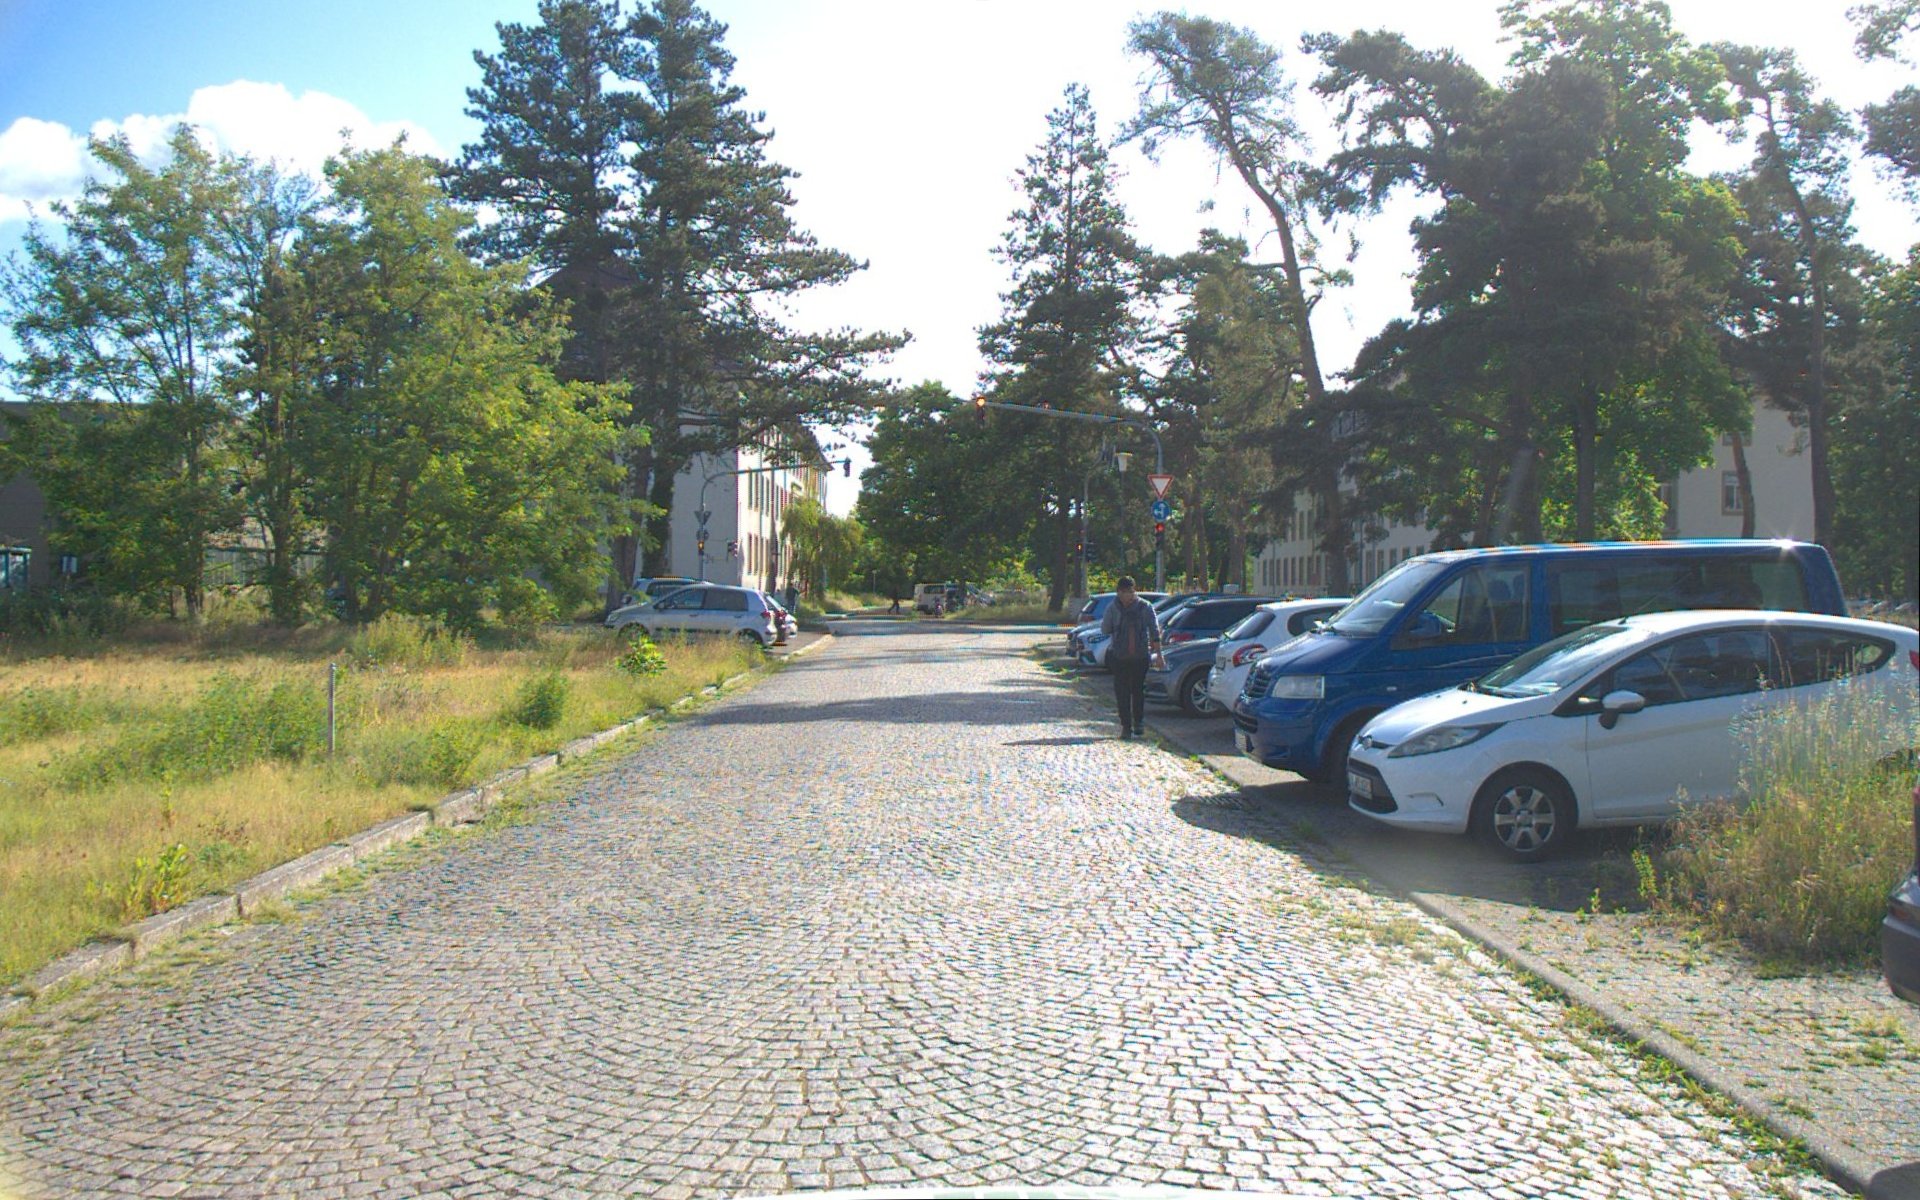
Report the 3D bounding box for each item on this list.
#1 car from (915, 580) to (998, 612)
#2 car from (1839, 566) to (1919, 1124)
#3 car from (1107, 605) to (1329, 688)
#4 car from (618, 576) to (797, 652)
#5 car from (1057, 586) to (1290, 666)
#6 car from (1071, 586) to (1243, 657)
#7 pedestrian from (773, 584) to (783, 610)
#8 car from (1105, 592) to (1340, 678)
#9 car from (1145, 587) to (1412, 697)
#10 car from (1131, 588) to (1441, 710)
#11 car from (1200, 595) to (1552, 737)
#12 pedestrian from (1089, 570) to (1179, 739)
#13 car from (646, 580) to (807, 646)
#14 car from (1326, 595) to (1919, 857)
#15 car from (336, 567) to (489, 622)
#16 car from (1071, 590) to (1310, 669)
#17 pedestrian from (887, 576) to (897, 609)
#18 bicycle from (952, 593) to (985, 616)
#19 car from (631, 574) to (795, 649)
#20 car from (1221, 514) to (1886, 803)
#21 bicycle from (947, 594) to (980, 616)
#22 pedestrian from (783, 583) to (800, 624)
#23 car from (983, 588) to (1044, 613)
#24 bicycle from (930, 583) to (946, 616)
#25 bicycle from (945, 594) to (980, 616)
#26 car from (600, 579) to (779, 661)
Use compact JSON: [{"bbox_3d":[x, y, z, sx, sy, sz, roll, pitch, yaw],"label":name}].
[{"bbox_3d":[-0.249,-0.241,103.832,4.975,1.951,1.995,0,0,-11],"label":"car"},{"bbox_3d":[4.846,0.726,4.474,4.024,1.639,1.785,0,0,-3],"label":"car"},{"bbox_3d":[4.173,0.738,27.058,3.390,1.264,1.536,1,0,-1],"label":"car"},{"bbox_3d":[-5.854,0.319,38.671,3.859,1.470,1.690,4,0,-2],"label":"car"},{"bbox_3d":[4.404,0.516,34.526,4.528,1.481,1.869,-2,1,-3],"label":"car"},{"bbox_3d":[4.372,0.466,37.049,3.598,1.468,1.665,-1,0,-1],"label":"car"},{"bbox_3d":[-10.943,-0.174,99.599,0.595,1.587,0.544,0,0,-8],"label":"pedestrian"},{"bbox_3d":[4.626,0.601,29.456,3.899,1.474,1.655,0,0,-2],"label":"car"},{"bbox_3d":[4.654,0.591,24.488,3.588,1.480,1.666,-1,0,-1],"label":"car"},{"bbox_3d":[4.174,0.610,21.591,3.703,1.476,1.758,-1,0,0],"label":"car"},{"bbox_3d":[4.610,0.708,18.667,3.570,1.518,1.634,0,0,-1],"label":"car"},{"bbox_3d":[1.899,0.580,18.154,0.738,1.755,0.828,5,0,-1],"label":"pedestrian"},{"bbox_3d":[-6.181,0.337,44.052,3.904,1.522,1.773,3,0,3],"label":"car"},{"bbox_3d":[4.410,0.750,10.793,3.646,1.492,1.609,-1,0,-3],"label":"car"},{"bbox_3d":[-16.865,-0.164,51.097,4.059,1.636,2.010,0,0,0],"label":"car"},{"bbox_3d":[4.378,0.547,31.869,4.310,1.413,1.788,-1,0,-2],"label":"car"},{"bbox_3d":[-4.152,-0.457,101.245,0.582,2.049,0.572,0,0,-1],"label":"pedestrian"},{"bbox_3d":[0.424,0.229,87.145,1.693,1.185,0.560,0,0,-5],"label":"bicycle"},{"bbox_3d":[-6.117,0.284,41.314,3.802,1.643,1.660,3,0,-2],"label":"car"},{"bbox_3d":[4.623,0.428,13.423,4.657,2.049,2.000,-1,0,-1],"label":"car"},{"bbox_3d":[0.204,0.267,86.460,1.693,1.132,0.483,0,0,-5],"label":"bicycle"},{"bbox_3d":[-7.466,0.156,73.455,0.598,1.783,0.626,1,0,-21],"label":"pedestrian"},{"bbox_3d":[3.479,0.023,107.802,3.674,1.607,1.738,1,0,-8],"label":"car"},{"bbox_3d":[-1.124,-0.034,82.910,0.738,1.608,2.536,1,0,-2],"label":"bicycle"},{"bbox_3d":[0.146,0.269,85.914,1.798,1.132,0.495,0,0,-5],"label":"bicycle"},{"bbox_3d":[-5.834,0.414,36.005,3.613,1.554,1.698,3,0,-4],"label":"car"}]
